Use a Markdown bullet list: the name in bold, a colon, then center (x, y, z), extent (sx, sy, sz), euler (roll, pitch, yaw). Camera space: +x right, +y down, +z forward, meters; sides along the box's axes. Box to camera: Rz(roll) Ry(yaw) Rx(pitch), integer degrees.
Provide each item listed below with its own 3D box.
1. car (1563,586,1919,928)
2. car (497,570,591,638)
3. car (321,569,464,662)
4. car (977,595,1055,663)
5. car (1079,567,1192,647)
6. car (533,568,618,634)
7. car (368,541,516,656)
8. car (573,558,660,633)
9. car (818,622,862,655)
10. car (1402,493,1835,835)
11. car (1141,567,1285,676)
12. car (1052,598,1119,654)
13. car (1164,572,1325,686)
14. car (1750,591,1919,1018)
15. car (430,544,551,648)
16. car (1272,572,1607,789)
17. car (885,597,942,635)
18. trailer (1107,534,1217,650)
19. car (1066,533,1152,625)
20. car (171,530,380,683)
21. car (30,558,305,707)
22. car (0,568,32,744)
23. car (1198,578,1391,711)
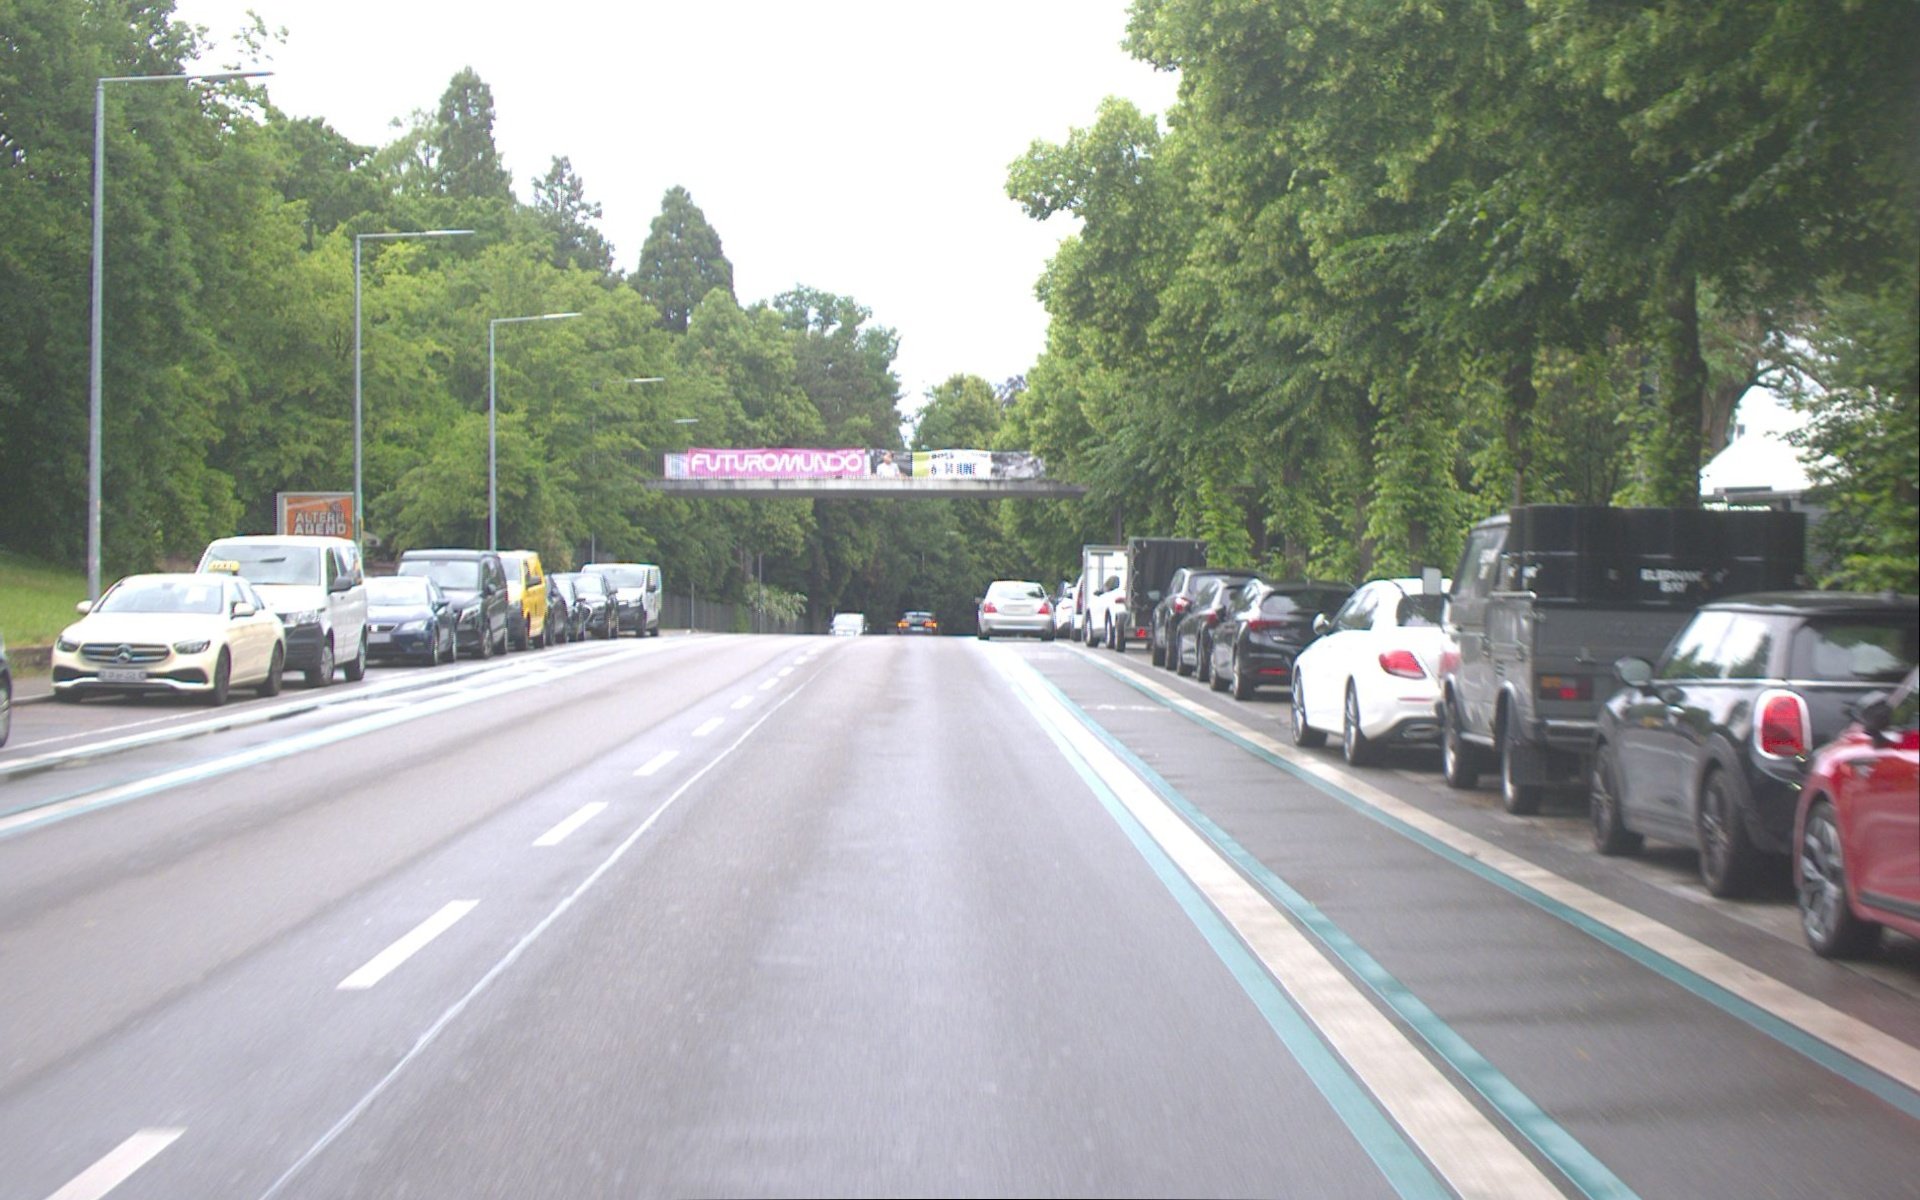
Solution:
- **car**: center (4.168, 0.701, 17.088), extent (1.606, 1.448, 3.747), euler (2, 1, 0)
- **car**: center (-9.494, 0.073, 78.708), extent (1.885, 1.446, 3.983), euler (0, 1, -3)
- **car**: center (-9.269, 0.226, 56.403), extent (1.731, 1.385, 4.371), euler (0, 1, -1)
- **car**: center (1.335, 0.676, 83.207), extent (1.731, 1.578, 4.037), euler (0, 1, -1)
- **car**: center (3.549, 0.119, 70.172), extent (1.730, 1.578, 4.155), euler (0, 1, -5)
- **car**: center (-9.433, 0.007, 84.628), extent (1.870, 1.537, 4.055), euler (0, 1, -3)
- **car**: center (-9.269, -0.067, 61.864), extent (1.990, 1.939, 5.142), euler (0, 1, -1)
- **car**: center (-9.170, -0.139, 92.070), extent (1.757, 1.925, 4.193), euler (0, 1, 2)
- **car**: center (-5.381, 1.736, 153.748), extent (1.869, 1.468, 4.054), euler (0, -1, -3)
- **car**: center (4.242, 0.354, 22.906), extent (1.926, 2.015, 4.664), euler (1, 1, 0)
- **car**: center (3.924, 0.301, 53.858), extent (1.731, 1.578, 4.155), euler (2, 0, -2)
- **car**: center (3.440, 0.701, 94.850), extent (1.731, 1.457, 4.045), euler (0, 1, 1)
- **car**: center (3.962, 0.374, 48.382), extent (1.731, 1.458, 4.073), euler (1, 1, -2)
- **car**: center (4.176, 0.744, 12.240), extent (1.686, 1.448, 4.166), euler (2, 1, 0)
- **car**: center (-9.269, -0.117, 68.125), extent (1.882, 1.938, 4.827), euler (0, 1, -2)
- **car**: center (3.772, 0.575, 27.879), extent (1.789, 1.537, 4.890), euler (2, 0, -2)
- **car**: center (-1.969, 0.654, 144.219), extent (2.140, 1.487, 4.499), euler (1, 1, -4)
- **trailer**: center (3.851, -0.173, 66.057), extent (1.884, 2.158, 3.808), euler (0, 0, 0)
- **car**: center (3.560, -0.516, 82.820), extent (1.889, 2.120, 4.045), euler (1, 1, 1)
- **car**: center (-9.068, 0.034, 45.941), extent (1.913, 1.925, 4.928), euler (0, 1, -1)
- **car**: center (-9.076, 0.325, 39.792), extent (1.990, 1.600, 4.984), euler (0, 1, 1)
- **car**: center (-8.733, 0.484, 27.605), extent (1.695, 1.432, 4.055), euler (0, 1, -3)
- **car**: center (4.016, 0.498, 41.934), extent (1.731, 1.458, 4.278), euler (2, 1, -2)
